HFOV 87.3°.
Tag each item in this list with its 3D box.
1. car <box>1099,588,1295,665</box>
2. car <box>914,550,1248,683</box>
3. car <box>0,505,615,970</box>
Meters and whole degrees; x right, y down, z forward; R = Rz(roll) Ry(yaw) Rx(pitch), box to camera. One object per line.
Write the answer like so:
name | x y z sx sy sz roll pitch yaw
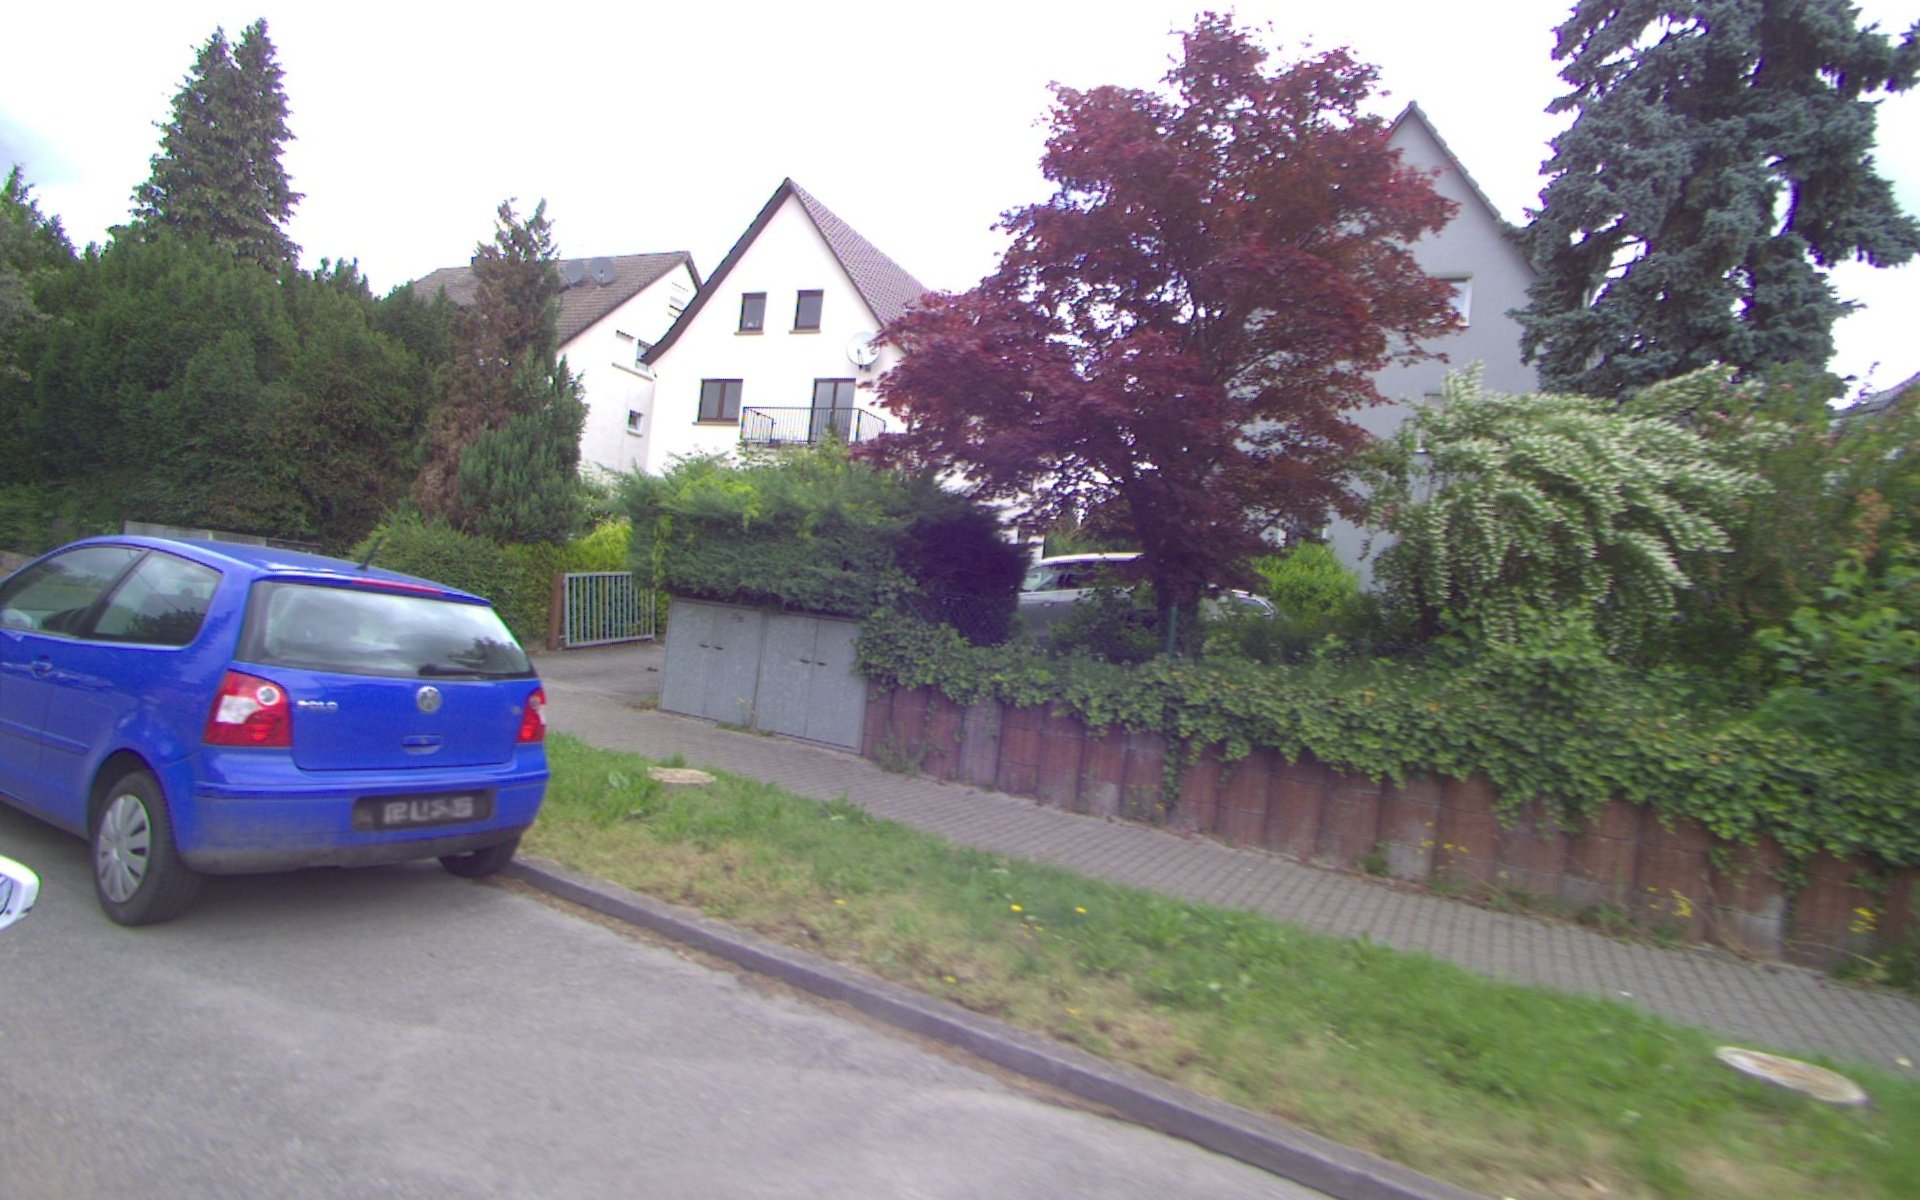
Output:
car | 4.948 0.534 21.018 3.781 1.367 1.429 3 0 22
car | 1.730 0.191 14.567 4.458 1.700 1.780 1 0 24
car | -3.797 0.420 5.076 3.809 1.468 1.631 7 -2 29
